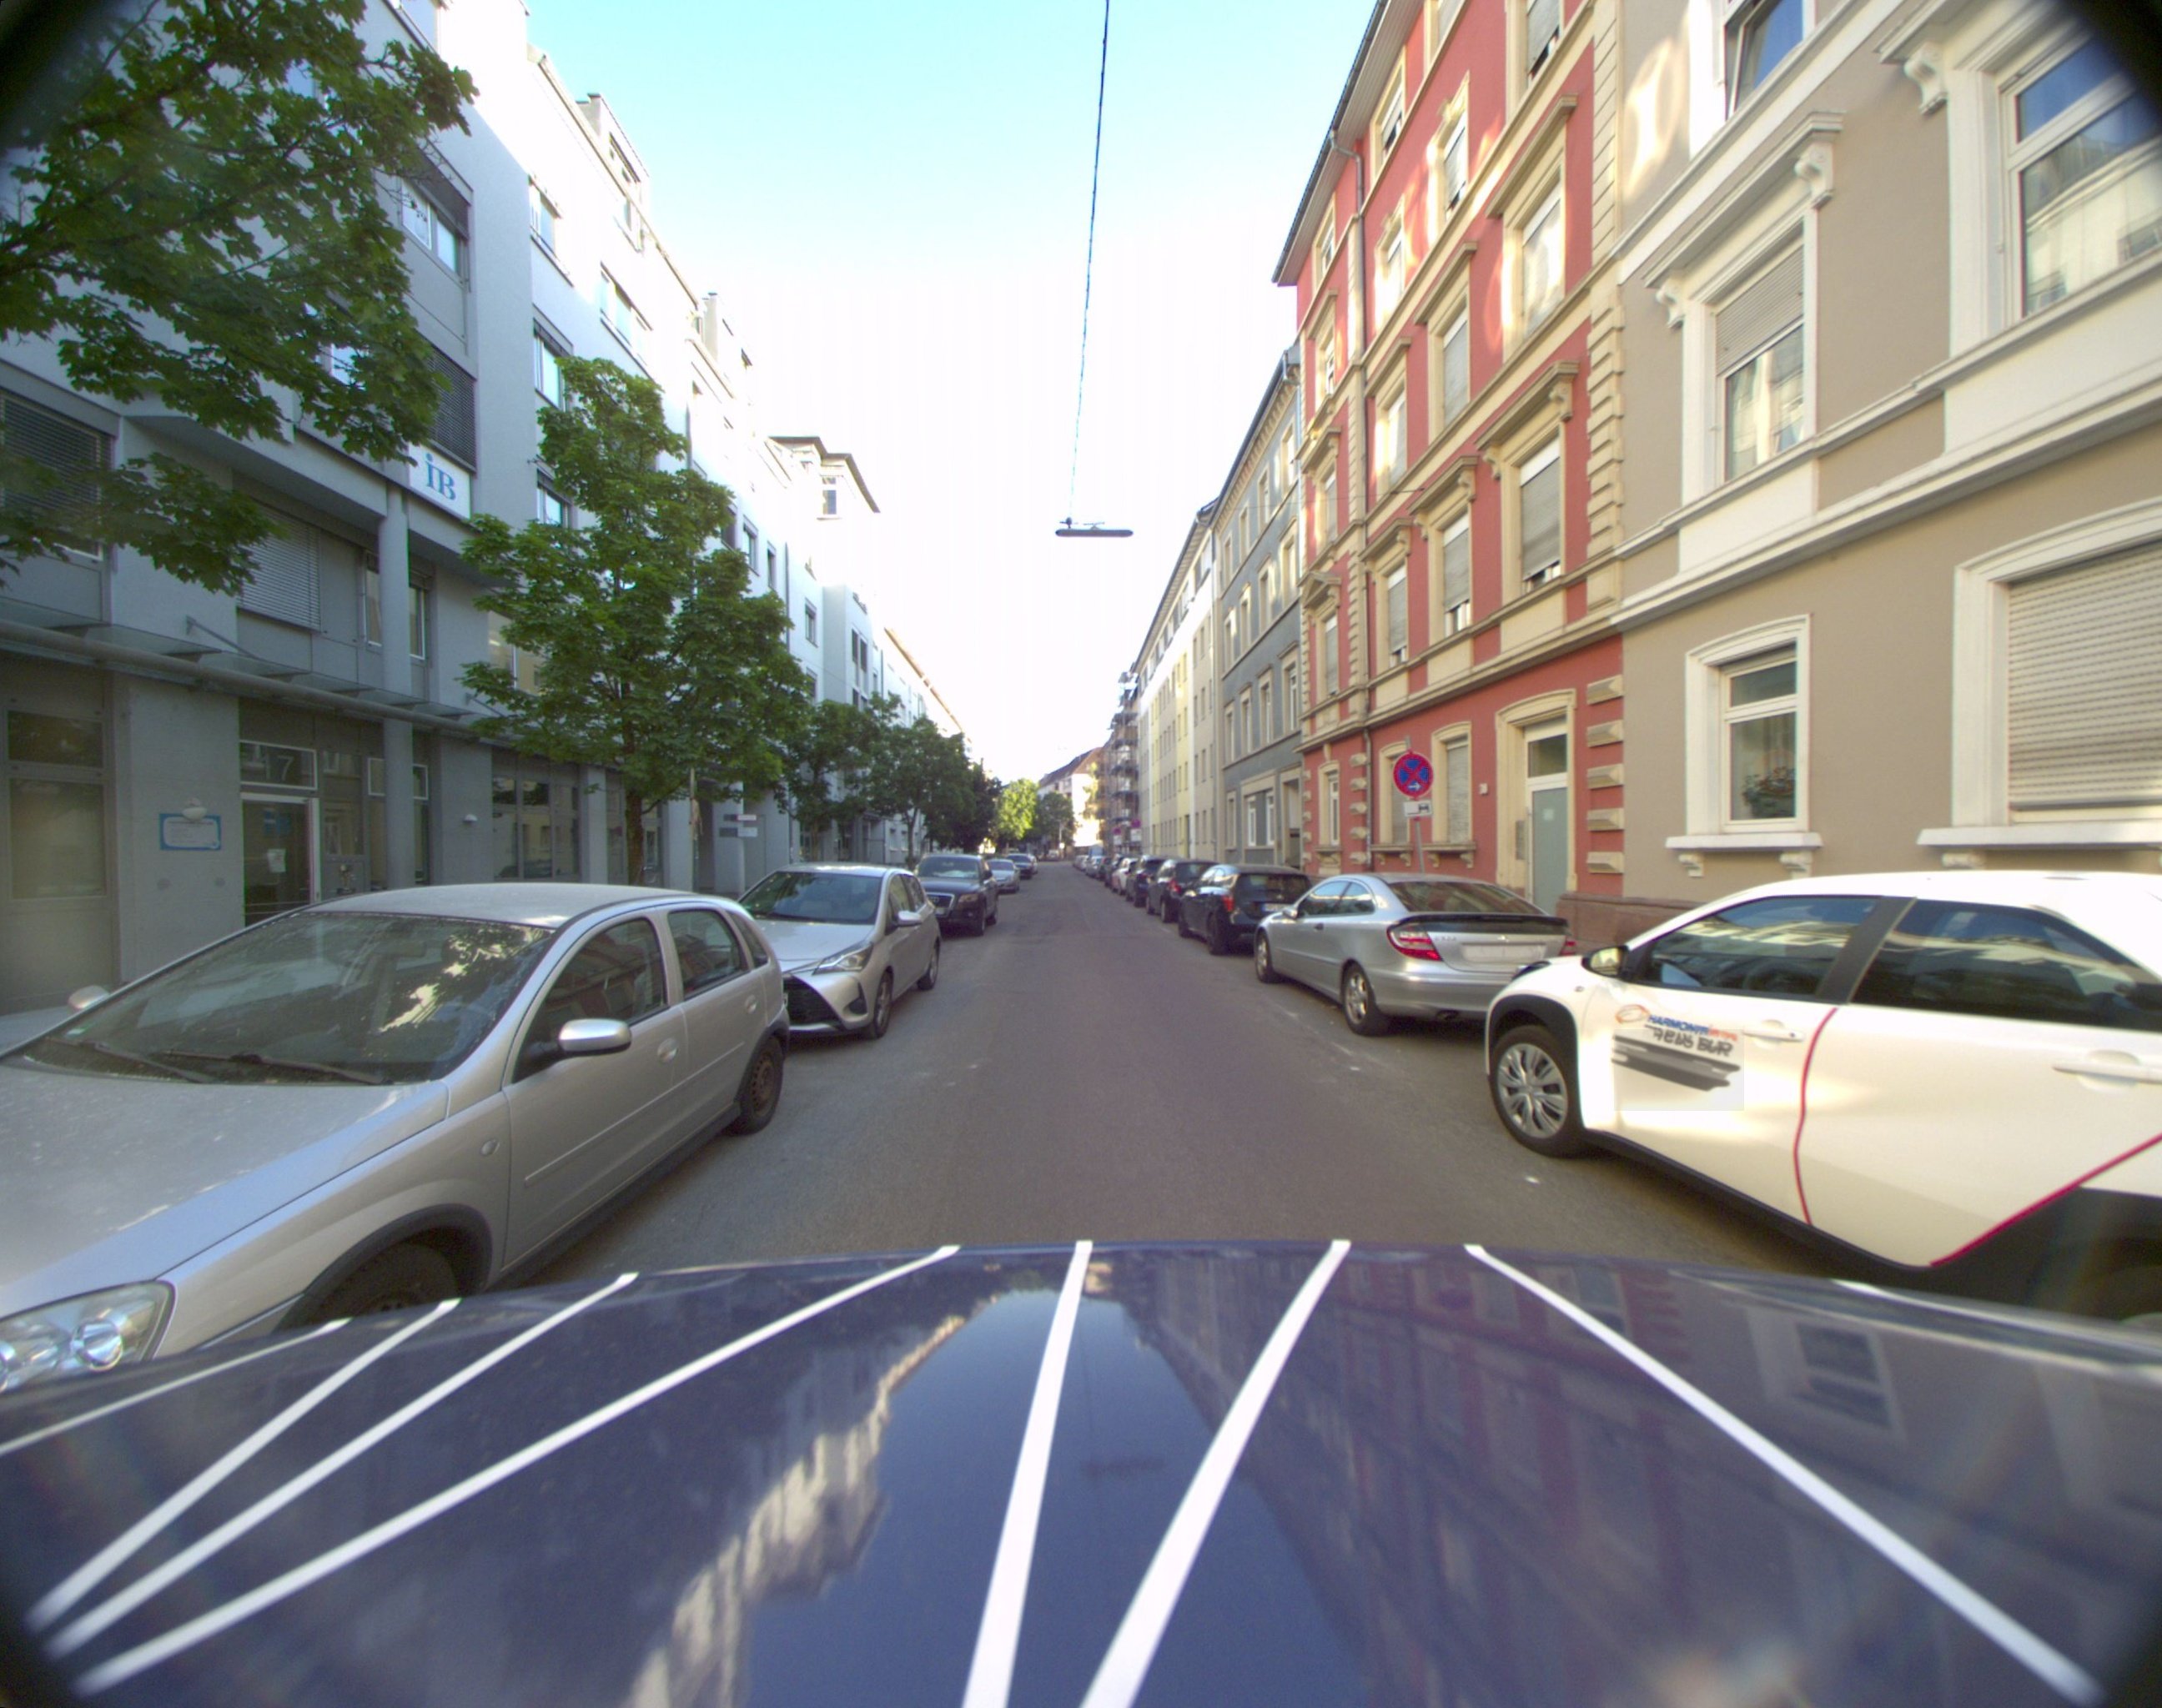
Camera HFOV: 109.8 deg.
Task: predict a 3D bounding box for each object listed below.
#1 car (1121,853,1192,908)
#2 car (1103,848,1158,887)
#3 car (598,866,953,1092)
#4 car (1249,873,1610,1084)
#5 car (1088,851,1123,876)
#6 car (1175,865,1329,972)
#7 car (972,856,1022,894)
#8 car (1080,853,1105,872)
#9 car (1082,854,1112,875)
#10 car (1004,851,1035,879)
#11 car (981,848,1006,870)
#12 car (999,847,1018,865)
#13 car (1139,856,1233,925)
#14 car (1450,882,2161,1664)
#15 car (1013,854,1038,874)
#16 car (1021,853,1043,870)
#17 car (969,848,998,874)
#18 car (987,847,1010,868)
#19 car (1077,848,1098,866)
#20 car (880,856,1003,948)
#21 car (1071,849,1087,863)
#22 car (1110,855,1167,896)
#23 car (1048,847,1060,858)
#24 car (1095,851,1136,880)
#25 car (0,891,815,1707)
[{"bbox_3d":[2.309,0.775,24.192,1.598,1.513,4.428,-1,1,-3],"label":"car"},{"bbox_3d":[2.210,0.581,35.242,1.999,1.640,4.492,-1,1,-3],"label":"car"},{"bbox_3d":[-2.636,0.976,7.719,1.913,1.576,4.000,-1,0,1],"label":"car"},{"bbox_3d":[3.065,0.995,7.684,1.614,1.420,3.960,2,1,-3],"label":"car"},{"bbox_3d":[1.569,0.584,49.849,1.999,1.566,4.148,-1,0,-2],"label":"car"},{"bbox_3d":[2.749,0.975,13.064,1.589,1.407,3.911,3,0,-2],"label":"car"},{"bbox_3d":[-3.562,0.868,32.863,1.856,1.480,3.998,-1,0,-3],"label":"car"},{"bbox_3d":[1.034,0.759,70.010,1.999,1.576,4.492,-1,1,-3],"label":"car"},{"bbox_3d":[1.126,0.718,55.128,1.999,1.437,3.999,-1,0,-2],"label":"car"},{"bbox_3d":[-3.966,0.682,49.339,1.856,1.649,3.998,-1,0,-4],"label":"car"},{"bbox_3d":[-8.167,0.433,71.386,1.999,2.002,3.998,-1,0,-3],"label":"car"},{"bbox_3d":[-8.392,0.199,88.598,1.999,2.002,3.998,-1,0,-3],"label":"car"},{"bbox_3d":[2.529,0.823,19.187,1.537,1.490,4.194,1,1,-3],"label":"car"},{"bbox_3d":[3.121,0.970,2.683,1.688,1.487,3.843,3,1,0],"label":"car"},{"bbox_3d":[-4.438,0.807,61.792,1.903,1.510,4.222,-1,0,-3],"label":"car"},{"bbox_3d":[-4.453,0.673,69.548,1.856,1.480,3.998,-1,0,-3],"label":"car"},{"bbox_3d":[-7.887,0.529,61.892,1.999,2.002,3.998,-1,0,-3],"label":"car"},{"bbox_3d":[-8.237,0.337,75.875,1.999,2.002,3.998,-1,0,-3],"label":"car"},{"bbox_3d":[0.676,0.333,80.248,1.999,1.783,3.999,-1,0,-2],"label":"car"},{"bbox_3d":[-2.874,0.913,16.630,1.863,1.679,4.389,-1,0,0],"label":"car"},{"bbox_3d":[-0.341,0.205,102.669,1.999,1.783,3.999,-1,0,-2],"label":"car"},{"bbox_3d":[2.203,0.806,30.127,1.662,1.420,4.351,-1,1,-4],"label":"car"},{"bbox_3d":[-4.709,-0.277,132.541,1.999,1.783,3.999,-1,0,-2],"label":"car"},{"bbox_3d":[1.990,0.623,45.161,1.999,1.576,4.492,-1,1,-3],"label":"car"},{"bbox_3d":[-2.667,1.004,3.139,1.638,1.439,4.066,-1,0,1],"label":"car"}]
